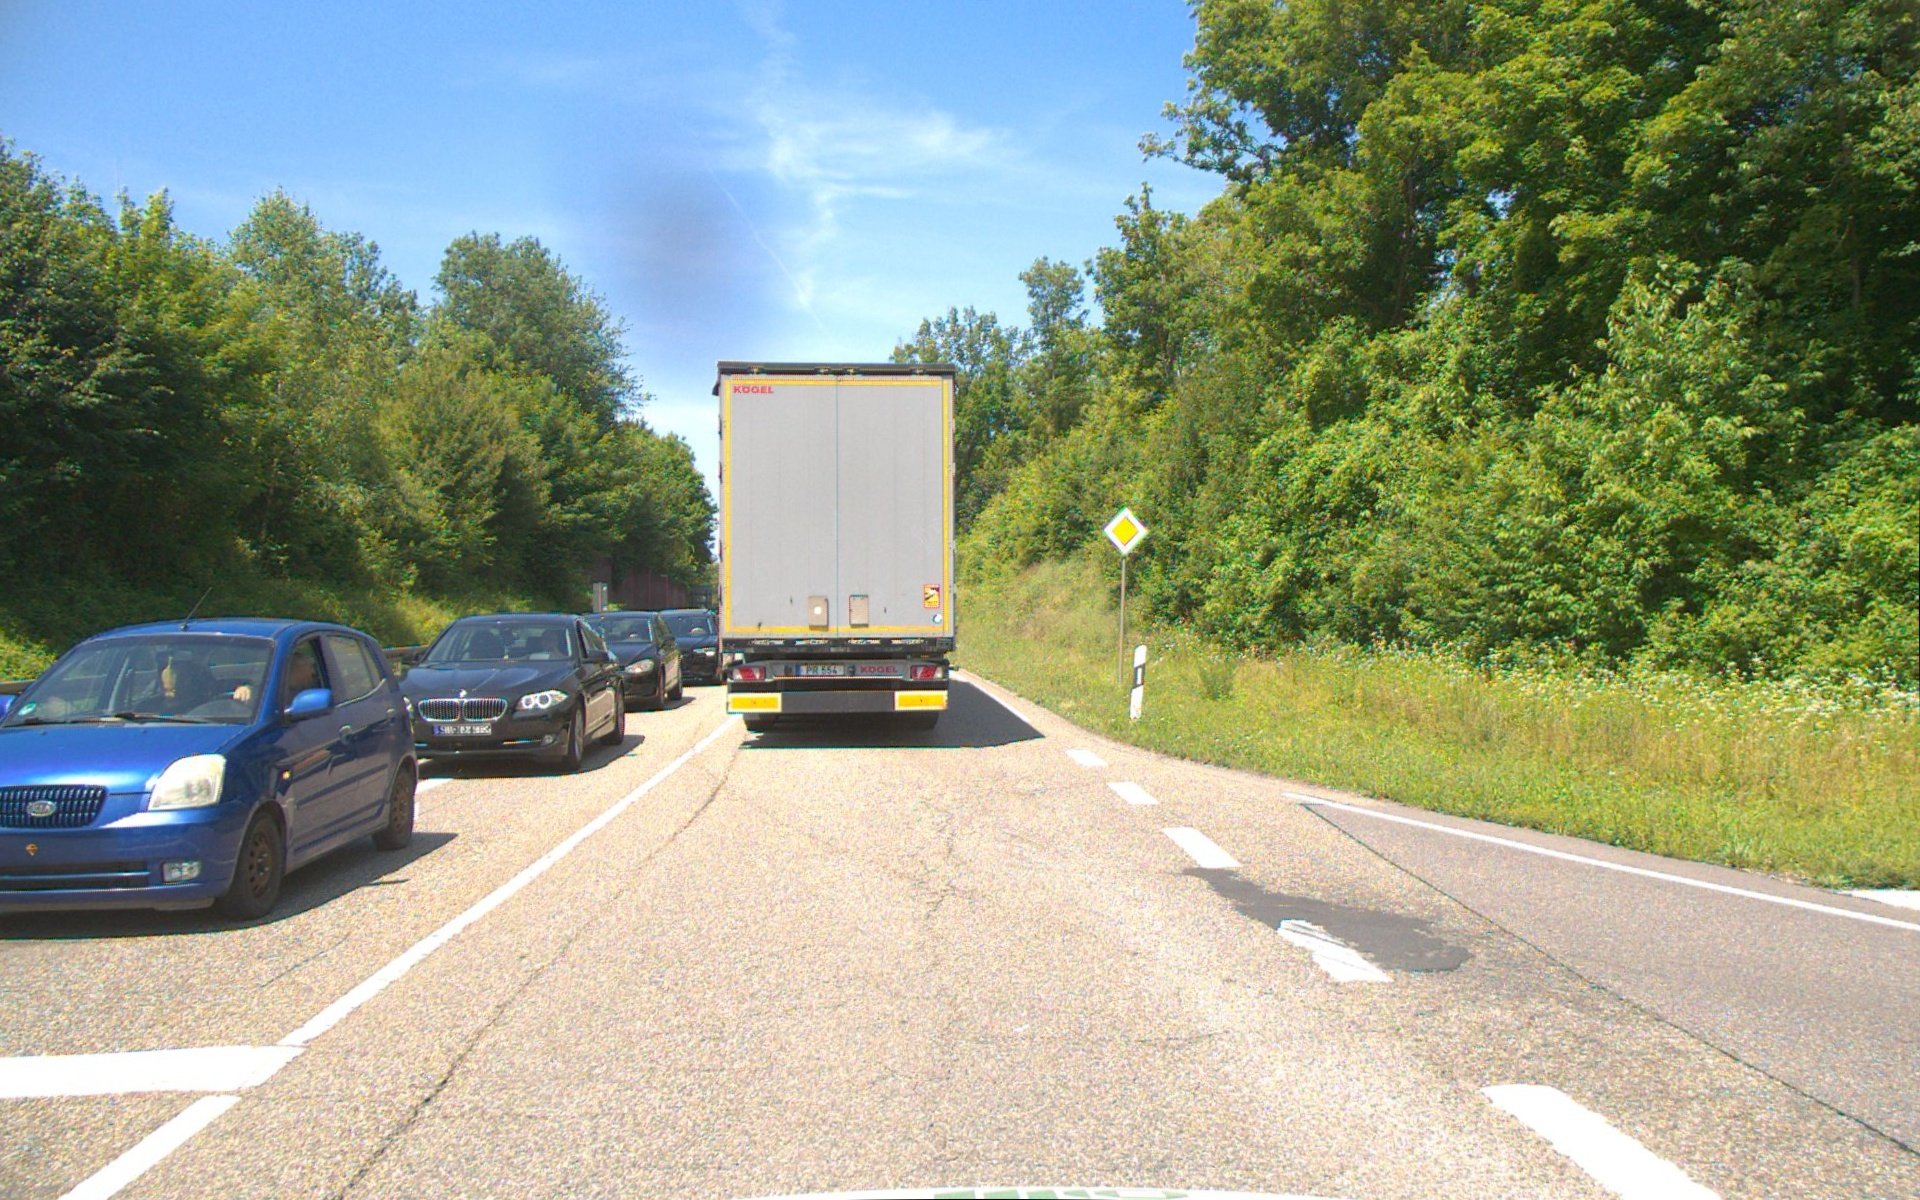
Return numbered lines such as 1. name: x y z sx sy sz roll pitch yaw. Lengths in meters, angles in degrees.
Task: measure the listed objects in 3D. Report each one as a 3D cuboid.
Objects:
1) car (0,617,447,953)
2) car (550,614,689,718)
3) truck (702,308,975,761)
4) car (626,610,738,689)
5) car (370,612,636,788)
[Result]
1. car: -4.194 0.862 9.402 1.535 1.465 3.768 -1 0 -3
2. car: -5.171 0.952 25.562 1.649 1.439 4.177 0 0 -5
3. truck: -1.550 -0.700 20.592 2.768 4.684 6.658 -1 0 -5
4. car: -5.599 0.956 33.802 1.768 1.479 4.383 -1 0 -3
5. car: -4.446 0.886 16.771 1.747 1.472 4.636 -1 0 -5
